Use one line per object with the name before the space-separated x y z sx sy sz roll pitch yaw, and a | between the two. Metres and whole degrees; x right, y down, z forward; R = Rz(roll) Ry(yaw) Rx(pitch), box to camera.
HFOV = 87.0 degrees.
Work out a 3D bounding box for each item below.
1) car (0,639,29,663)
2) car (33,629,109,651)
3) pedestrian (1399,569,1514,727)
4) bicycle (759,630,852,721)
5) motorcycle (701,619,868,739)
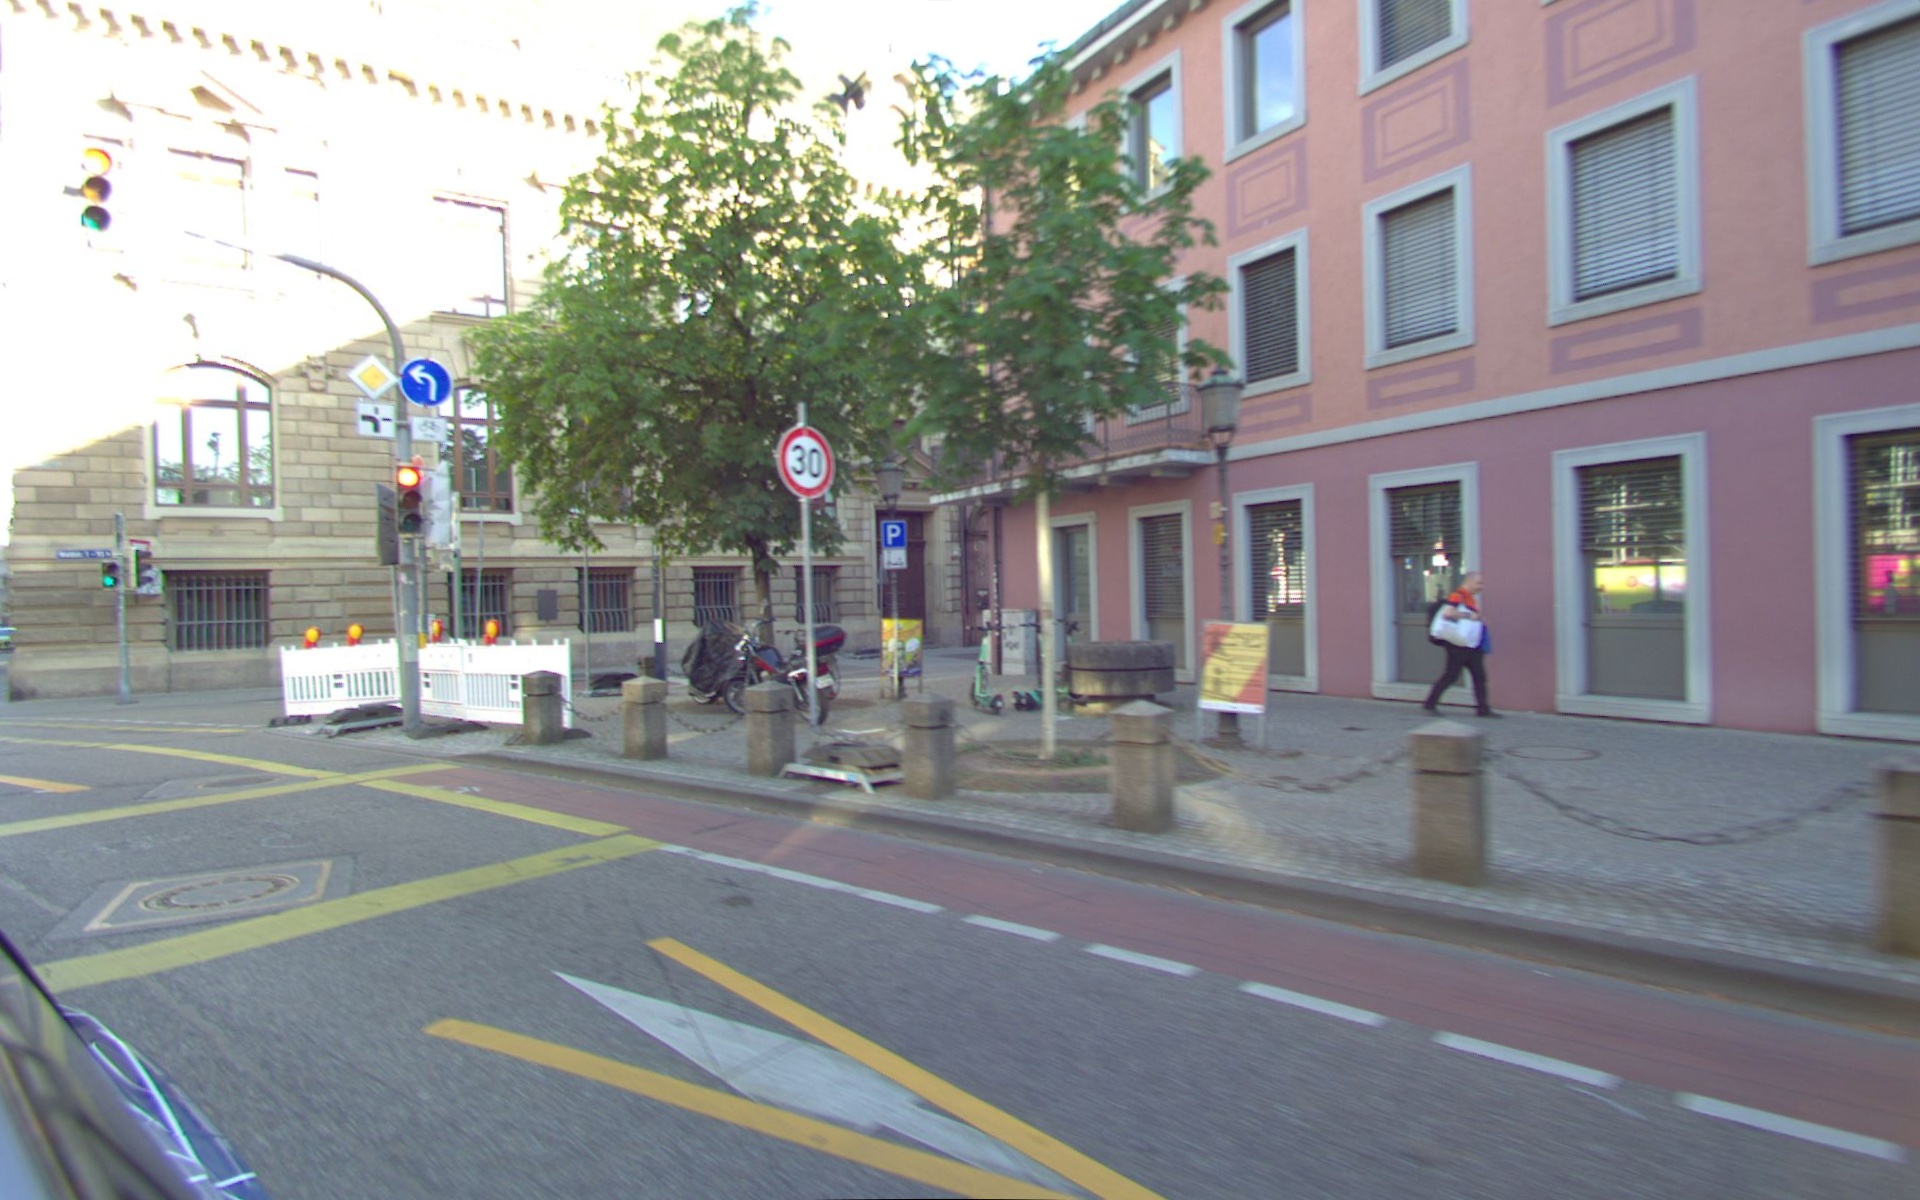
car | -61.987 3.313 65.827 1.826 1.503 4.262 -2 0 -39
car | -68.840 3.104 78.374 1.631 1.482 4.215 -2 -1 39
pedestrian | 5.668 0.522 11.567 0.781 1.701 0.871 -2 0 -37
bicycle | -2.205 1.049 14.714 0.676 1.215 1.998 0 -2 11
motorcycle | -2.201 0.921 12.423 0.802 1.327 2.338 0 -2 -45
